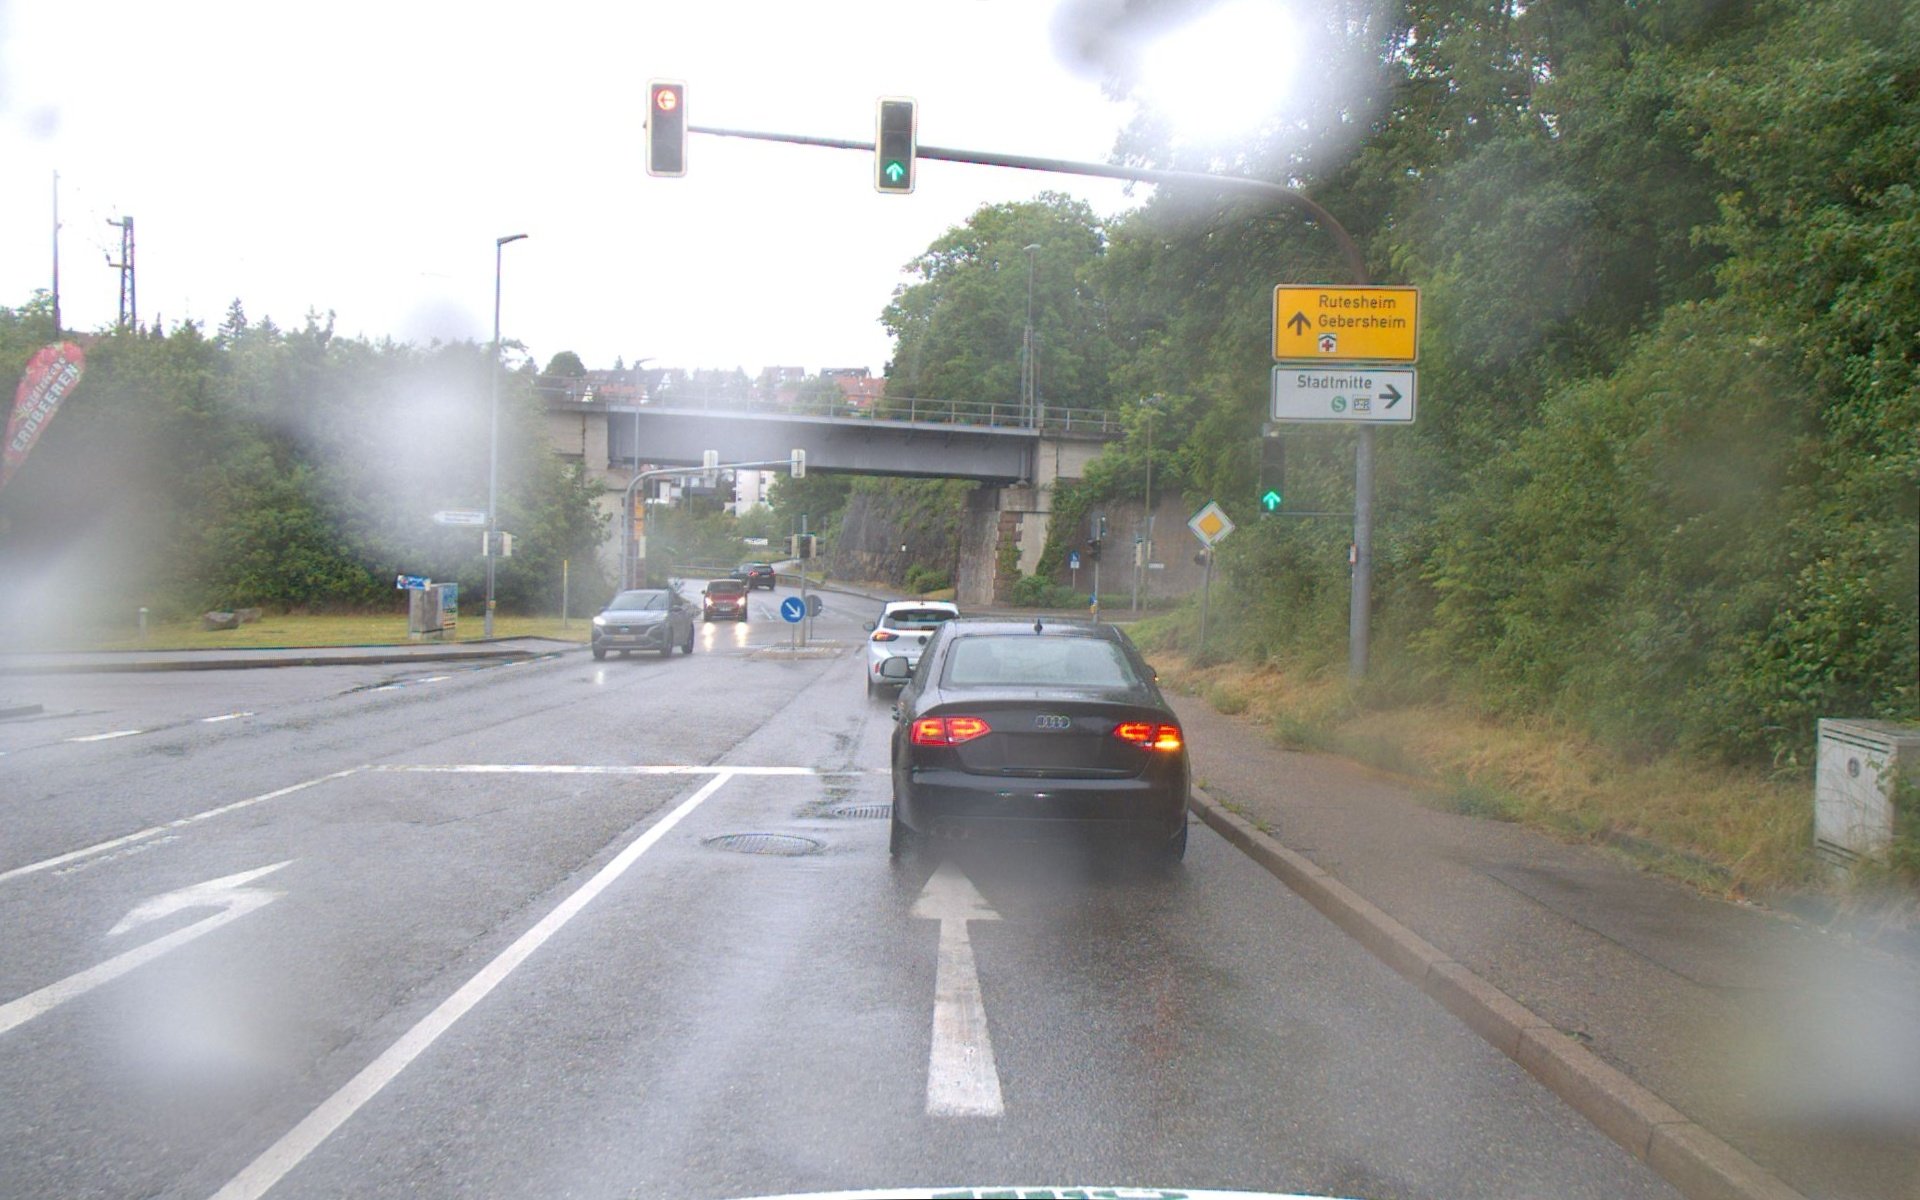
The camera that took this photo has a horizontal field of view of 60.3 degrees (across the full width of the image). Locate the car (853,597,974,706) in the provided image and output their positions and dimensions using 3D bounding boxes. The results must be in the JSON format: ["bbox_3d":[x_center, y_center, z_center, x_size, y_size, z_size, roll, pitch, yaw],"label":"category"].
[{"bbox_3d":[-0.725,0.805,26.633,1.786,1.613,3.999,1,-1,-1],"label":"car"}]

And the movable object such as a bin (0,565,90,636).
[{"bbox_3d":[-24.006,-0.006,38.824,2.699,1.656,5.752,0,-1,39],"label":"movable object such as a bin"}]

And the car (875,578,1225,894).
[{"bbox_3d":[0.446,0.752,10.695,1.832,1.645,3.999,1,-1,-1],"label":"car"}]

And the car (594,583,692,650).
[{"bbox_3d":[-7.412,0.361,39.033,1.606,1.495,3.999,0,0,-1],"label":"car"}]

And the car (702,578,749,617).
[{"bbox_3d":[-10.101,-0.113,71.371,1.956,1.657,3.993,0,0,-8],"label":"car"}]

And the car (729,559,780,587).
[{"bbox_3d":[-13.138,-1.752,105.498,1.971,1.623,3.964,0,3,-28],"label":"car"}]
